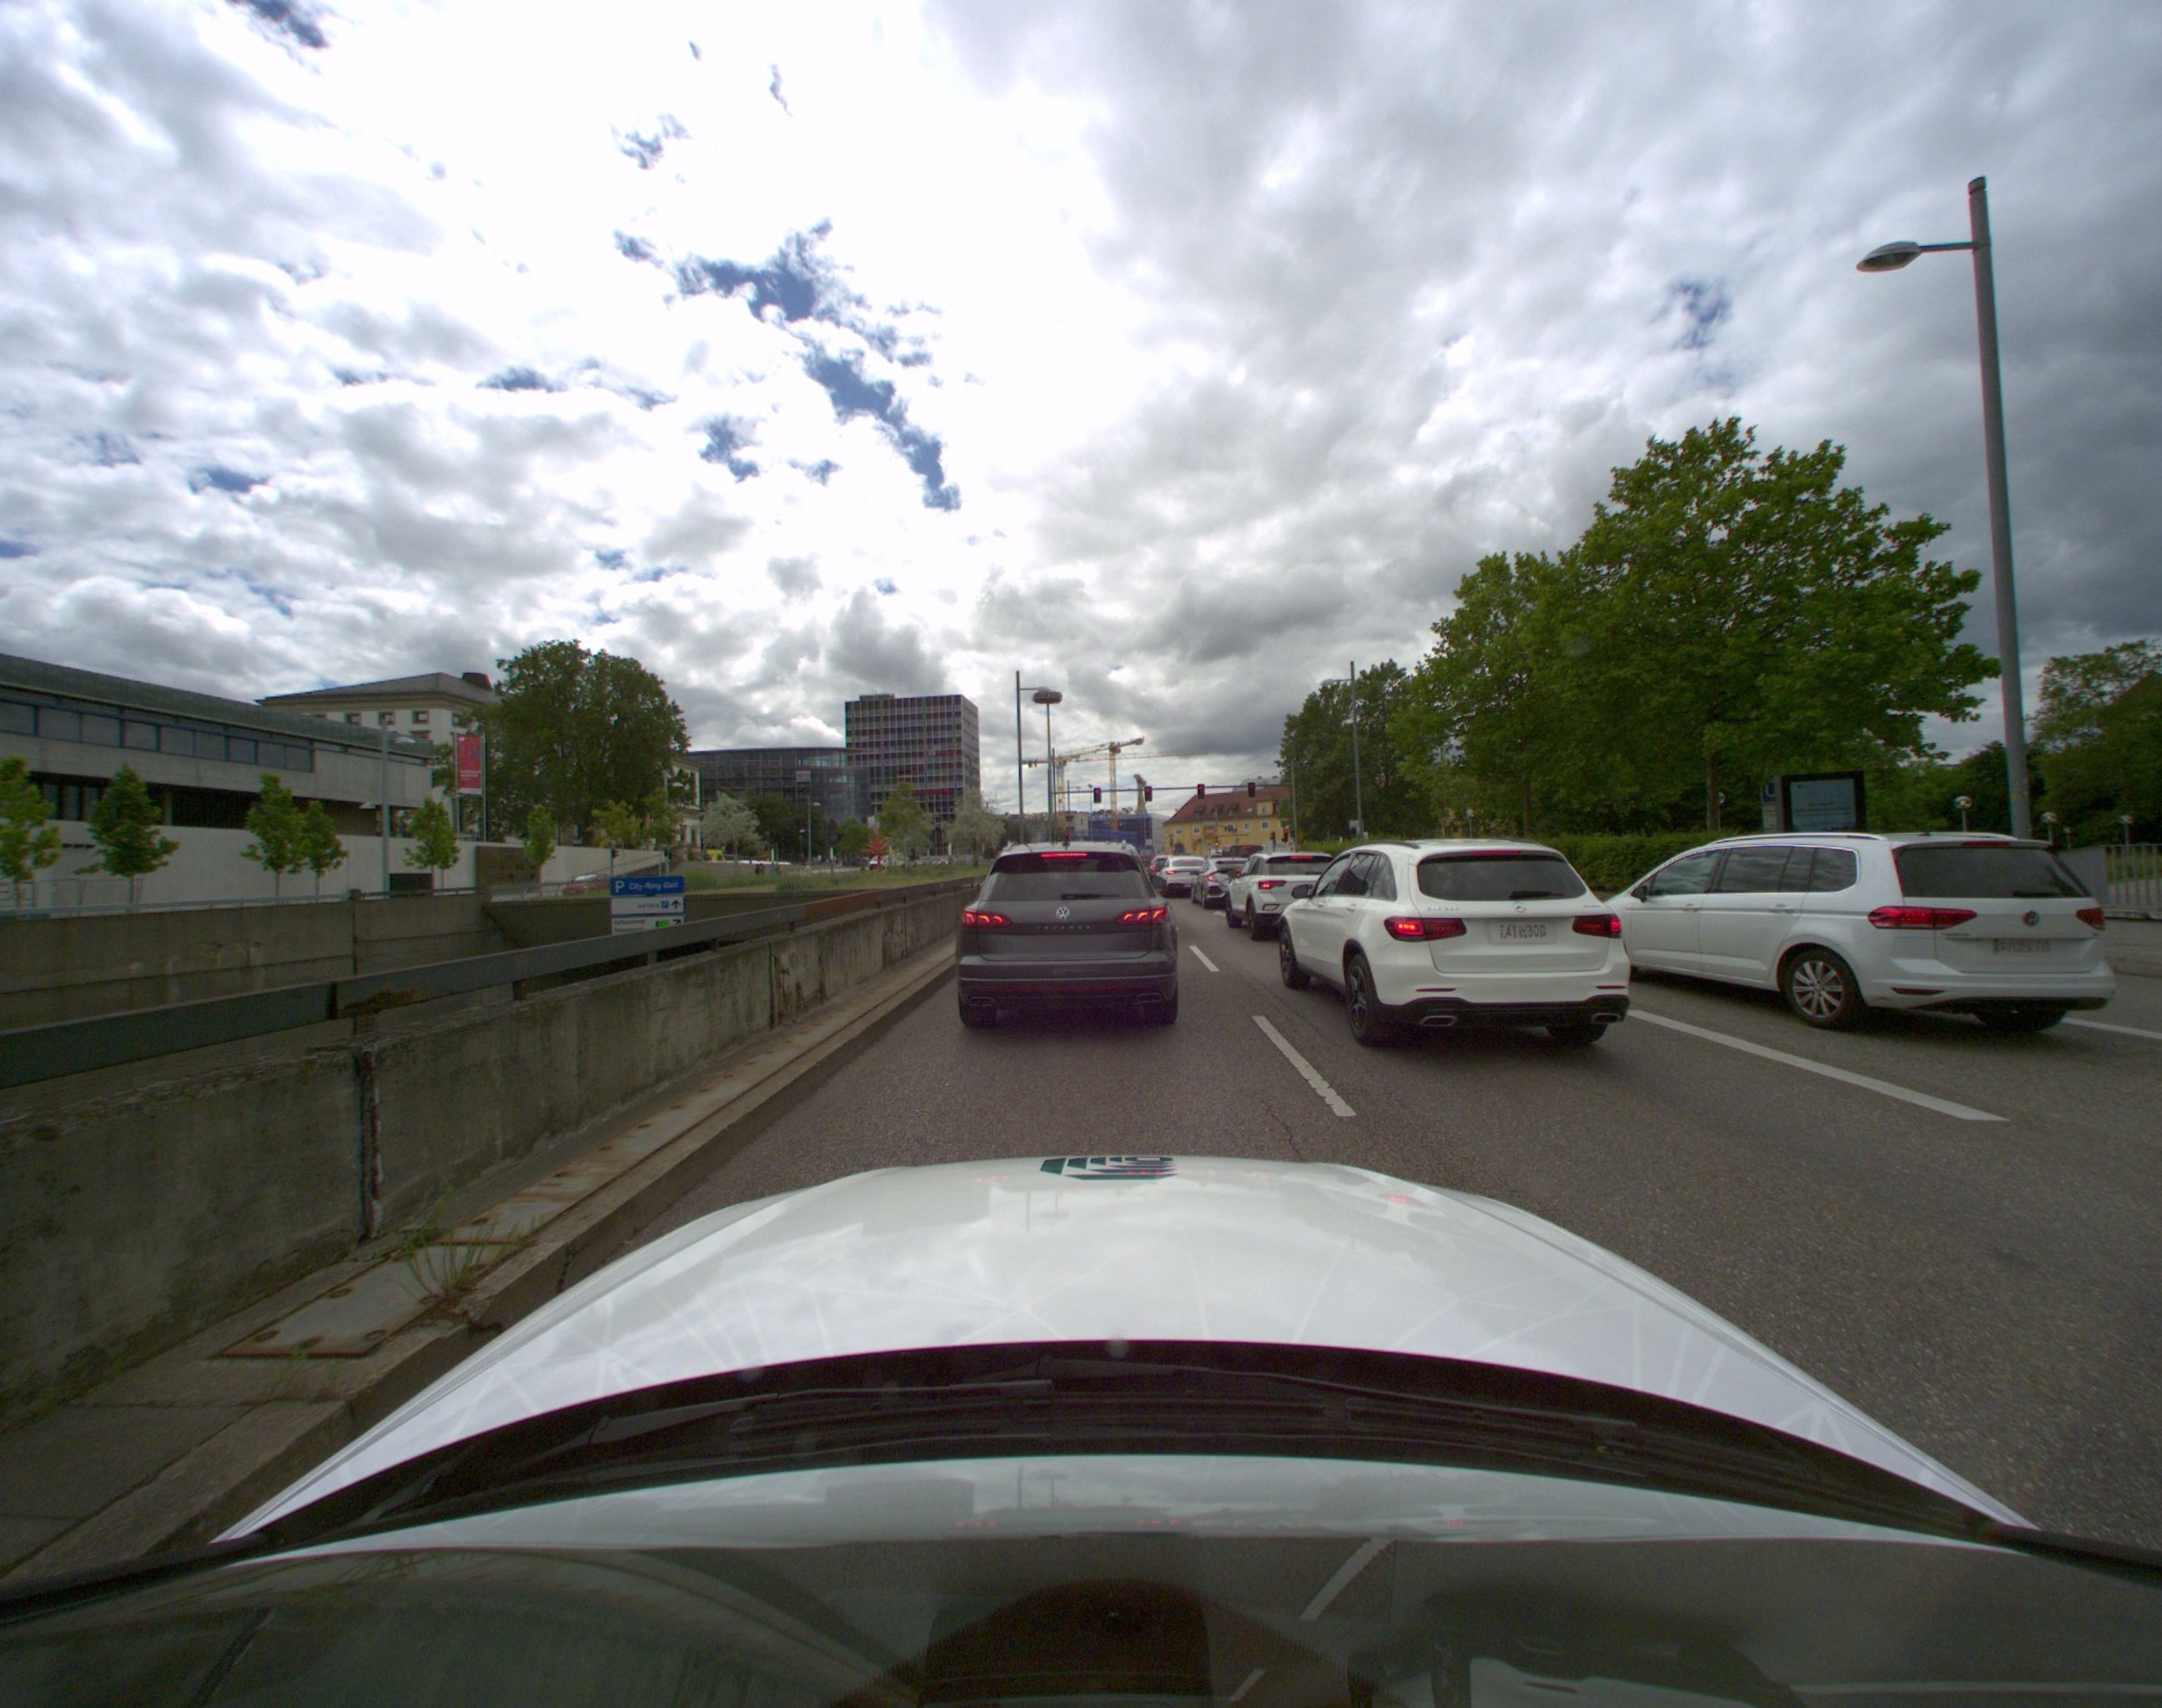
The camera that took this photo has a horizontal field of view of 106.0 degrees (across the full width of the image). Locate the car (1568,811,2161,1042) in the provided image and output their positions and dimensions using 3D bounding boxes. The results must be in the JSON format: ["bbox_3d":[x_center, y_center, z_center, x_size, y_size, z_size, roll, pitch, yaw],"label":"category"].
[{"bbox_3d":[7.119,0.540,8.094,1.987,1.640,4.304,-1,0,0],"label":"car"}]

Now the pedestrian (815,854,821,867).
[{"bbox_3d":[-42.254,1.053,130.799,0.740,2.013,0.788,-2,1,-19],"label":"pedestrian"}]

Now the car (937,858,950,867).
[{"bbox_3d":[-25.075,1.572,148.224,1.727,1.495,3.593,0,-1,0],"label":"car"}]

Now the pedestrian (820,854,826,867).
[{"bbox_3d":[-41.485,1.061,131.023,0.740,2.013,0.788,-2,1,-19],"label":"pedestrian"}]

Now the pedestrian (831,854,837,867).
[{"bbox_3d":[-38.848,1.001,128.150,0.740,2.013,0.788,-2,1,-19],"label":"pedestrian"}]

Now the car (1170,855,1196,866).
[{"bbox_3d":[18.988,1.217,151.557,4.402,2.014,1.713,-1,-2,35],"label":"car"}]

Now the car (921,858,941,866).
[{"bbox_3d":[-30.668,1.737,166.656,4.173,1.603,1.764,-1,-2,37],"label":"car"}]

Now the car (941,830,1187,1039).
[{"bbox_3d":[-0.087,0.646,8.482,1.944,1.651,4.001,0,0,1],"label":"car"}]

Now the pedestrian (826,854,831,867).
[{"bbox_3d":[-39.660,0.990,127.829,0.740,2.013,1.108,-2,1,-18],"label":"pedestrian"}]

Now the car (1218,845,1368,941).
[{"bbox_3d":[3.879,0.674,15.737,1.918,1.551,4.493,-1,-1,3],"label":"car"}]

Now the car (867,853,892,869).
[{"bbox_3d":[-27.416,0.882,111.018,1.986,2.013,4.695,-2,1,2],"label":"car"}]

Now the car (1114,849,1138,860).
[{"bbox_3d":[9.006,0.119,163.630,4.402,2.014,2.012,-1,-2,35],"label":"car"}]

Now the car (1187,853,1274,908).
[{"bbox_3d":[4.271,0.732,23.896,1.918,1.432,4.493,-1,-1,3],"label":"car"}]

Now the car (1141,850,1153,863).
[{"bbox_3d":[9.176,0.354,113.160,1.612,1.627,4.002,0,-1,2],"label":"car"}]

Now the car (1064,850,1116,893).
[{"bbox_3d":[0.391,0.667,32.858,1.944,1.600,3.932,0,0,1],"label":"car"}]

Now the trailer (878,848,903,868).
[{"bbox_3d":[-26.878,0.533,115.088,2.030,2.604,5.510,0,1,2],"label":"trailer"}]

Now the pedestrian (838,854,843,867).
[{"bbox_3d":[-38.413,1.057,129.952,0.740,2.013,1.108,-2,1,-18],"label":"pedestrian"}]

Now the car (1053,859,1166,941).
[{"bbox_3d":[0.544,0.799,15.979,1.944,1.384,3.932,0,0,1],"label":"car"}]

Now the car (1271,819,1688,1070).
[{"bbox_3d":[3.185,0.583,7.695,1.918,1.653,4.493,-1,1,3],"label":"car"}]

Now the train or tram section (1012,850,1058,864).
[{"bbox_3d":[-10.207,0.753,179.135,10.295,3.010,2.612,-1,-2,31],"label":"train or tram section"}]

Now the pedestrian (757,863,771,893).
[{"bbox_3d":[-22.180,1.654,57.009,0.794,2.013,0.829,-2,0,-26],"label":"pedestrian"}]

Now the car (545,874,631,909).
[{"bbox_3d":[-29.780,2.232,49.375,2.166,1.854,4.738,-2,0,1],"label":"car"}]

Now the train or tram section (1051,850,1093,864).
[{"bbox_3d":[-1.996,0.648,174.187,8.835,3.010,2.613,-1,-2,32],"label":"train or tram section"}]

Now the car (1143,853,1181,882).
[{"bbox_3d":[4.511,0.736,45.736,1.918,1.529,4.050,-1,-1,3],"label":"car"}]

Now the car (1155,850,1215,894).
[{"bbox_3d":[3.827,0.653,30.634,1.918,1.529,4.493,-1,-1,3],"label":"car"}]

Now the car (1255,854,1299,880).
[{"bbox_3d":[11.342,0.731,47.353,1.751,1.447,3.633,0,-1,0],"label":"car"}]

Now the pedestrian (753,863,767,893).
[{"bbox_3d":[-22.145,1.634,56.176,0.794,2.013,0.829,-2,0,-26],"label":"pedestrian"}]

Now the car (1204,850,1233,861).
[{"bbox_3d":[21.742,0.288,128.675,4.060,1.610,1.841,-1,-2,37],"label":"car"}]

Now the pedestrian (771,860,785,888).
[{"bbox_3d":[-22.857,1.524,61.504,0.729,2.012,0.628,-2,4,-6],"label":"pedestrian"}]

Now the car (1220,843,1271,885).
[{"bbox_3d":[8.162,0.510,40.783,1.903,2.014,4.014,0,-1,2],"label":"car"}]

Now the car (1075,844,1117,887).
[{"bbox_3d":[0.750,0.539,40.265,1.944,2.018,3.932,0,0,1],"label":"car"}]

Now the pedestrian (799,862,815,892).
[{"bbox_3d":[-19.105,1.584,56.793,0.857,2.013,0.629,-2,1,1],"label":"pedestrian"}]

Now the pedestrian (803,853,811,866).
[{"bbox_3d":[-40.653,0.815,120.796,0.737,2.013,1.113,-2,1,-3],"label":"pedestrian"}]

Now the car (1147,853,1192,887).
[{"bbox_3d":[4.222,0.767,39.450,1.918,1.529,4.050,-1,-1,3],"label":"car"}]

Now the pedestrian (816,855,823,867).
[{"bbox_3d":[-43.168,1.111,134.389,0.735,2.013,0.793,-2,1,2],"label":"pedestrian"}]

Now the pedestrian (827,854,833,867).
[{"bbox_3d":[-39.753,1.018,128.956,0.740,2.013,0.788,-2,1,-19],"label":"pedestrian"}]
